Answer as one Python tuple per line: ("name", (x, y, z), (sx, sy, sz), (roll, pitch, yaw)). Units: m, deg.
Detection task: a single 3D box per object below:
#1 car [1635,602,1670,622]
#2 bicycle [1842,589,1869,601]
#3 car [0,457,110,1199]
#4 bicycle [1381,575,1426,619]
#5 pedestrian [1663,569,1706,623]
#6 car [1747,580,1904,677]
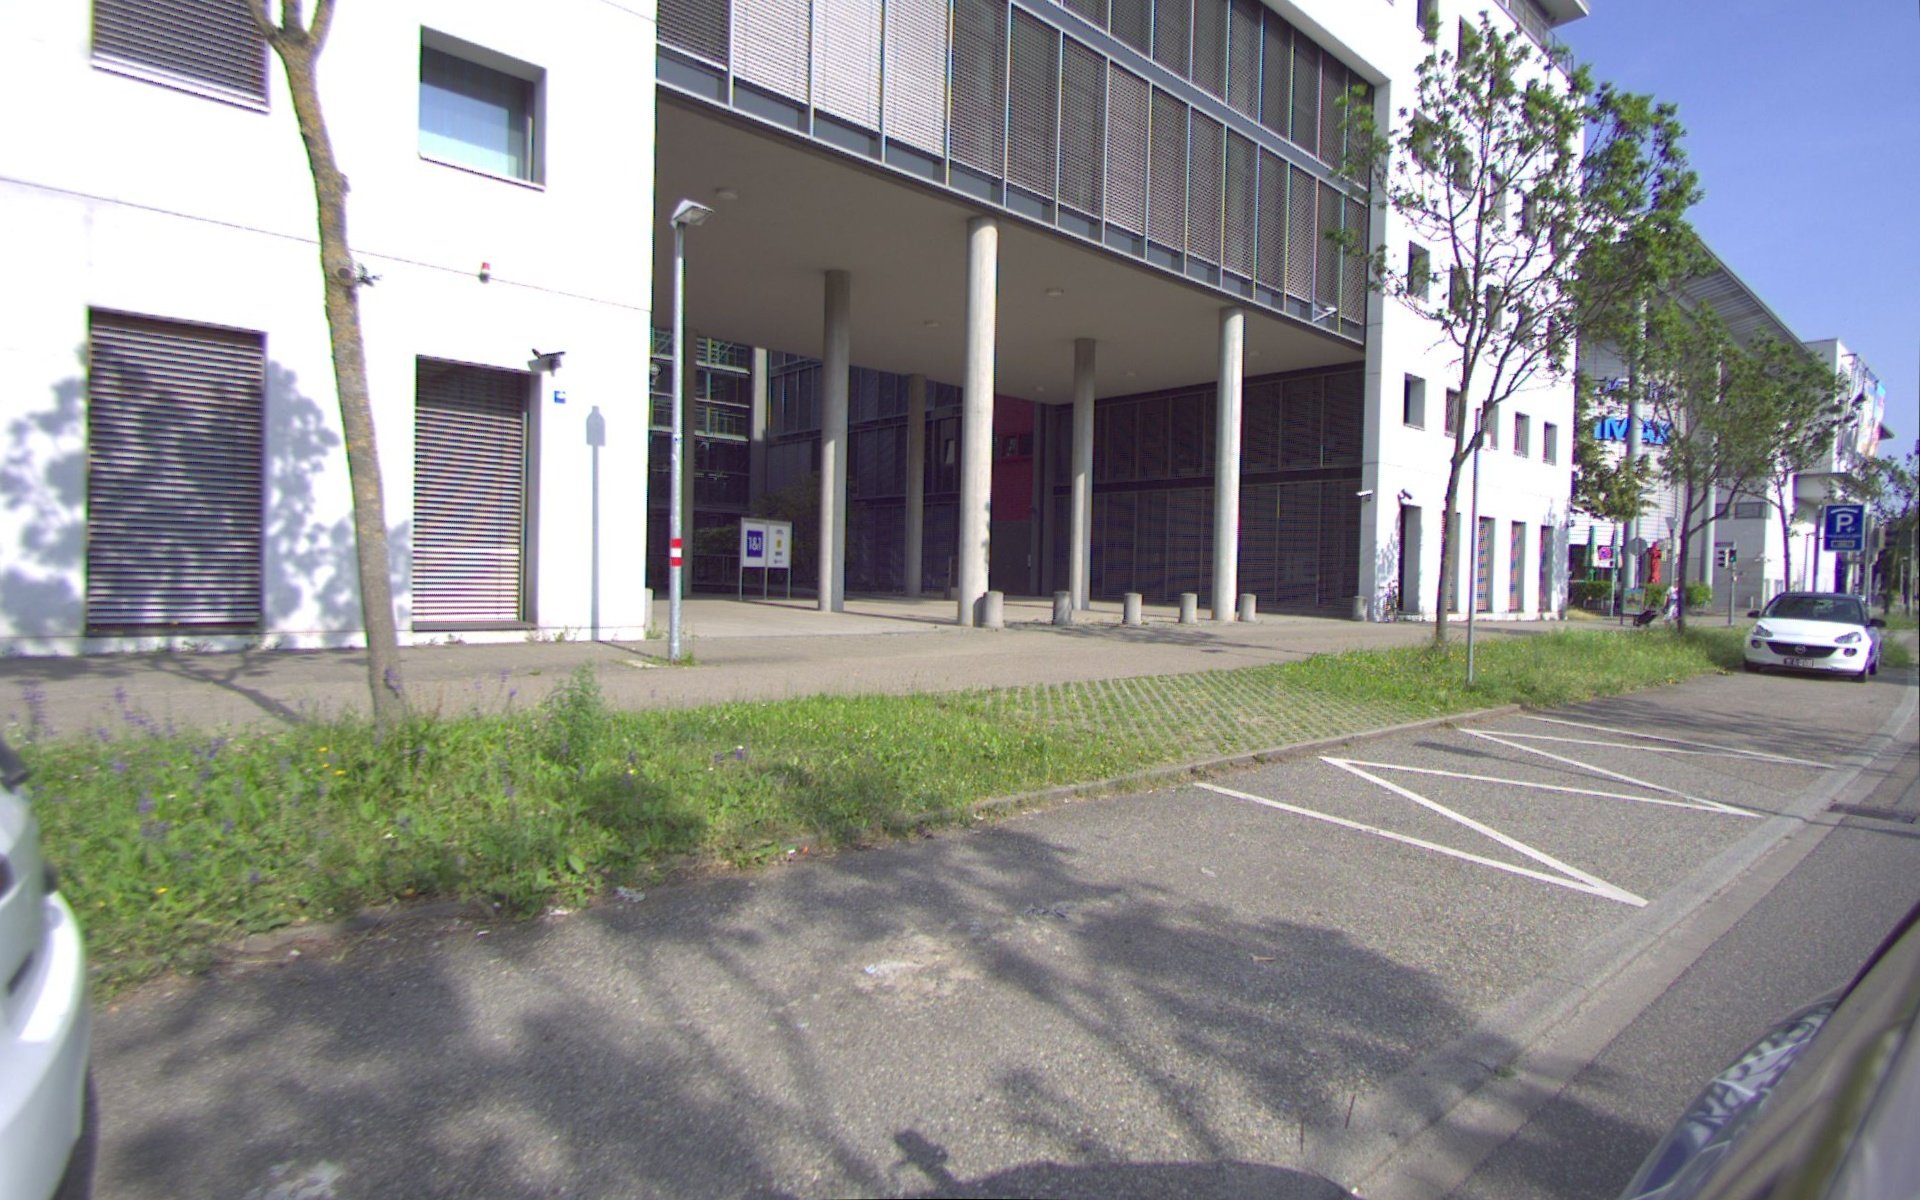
("car", (22.255, 0.374, 32.545), (0.488, 0.595, 0.770), (1, 2, -15))
("bicycle", (77.807, -0.427, 87.909), (0.474, 0.926, 1.661), (0, 3, -40))
("car", (-3.106, 0.540, 0.707), (3.785, 1.544, 1.692), (0, 4, -43))
("bicycle", (11.549, -0.081, 26.350), (1.525, 1.099, 0.494), (0, 3, -45))
("pedestrian", (22.798, -0.130, 31.862), (0.698, 1.635, 0.781), (1, 2, -15))
("car", (15.654, 0.459, 18.247), (3.717, 1.538, 1.723), (0, 1, -43))
